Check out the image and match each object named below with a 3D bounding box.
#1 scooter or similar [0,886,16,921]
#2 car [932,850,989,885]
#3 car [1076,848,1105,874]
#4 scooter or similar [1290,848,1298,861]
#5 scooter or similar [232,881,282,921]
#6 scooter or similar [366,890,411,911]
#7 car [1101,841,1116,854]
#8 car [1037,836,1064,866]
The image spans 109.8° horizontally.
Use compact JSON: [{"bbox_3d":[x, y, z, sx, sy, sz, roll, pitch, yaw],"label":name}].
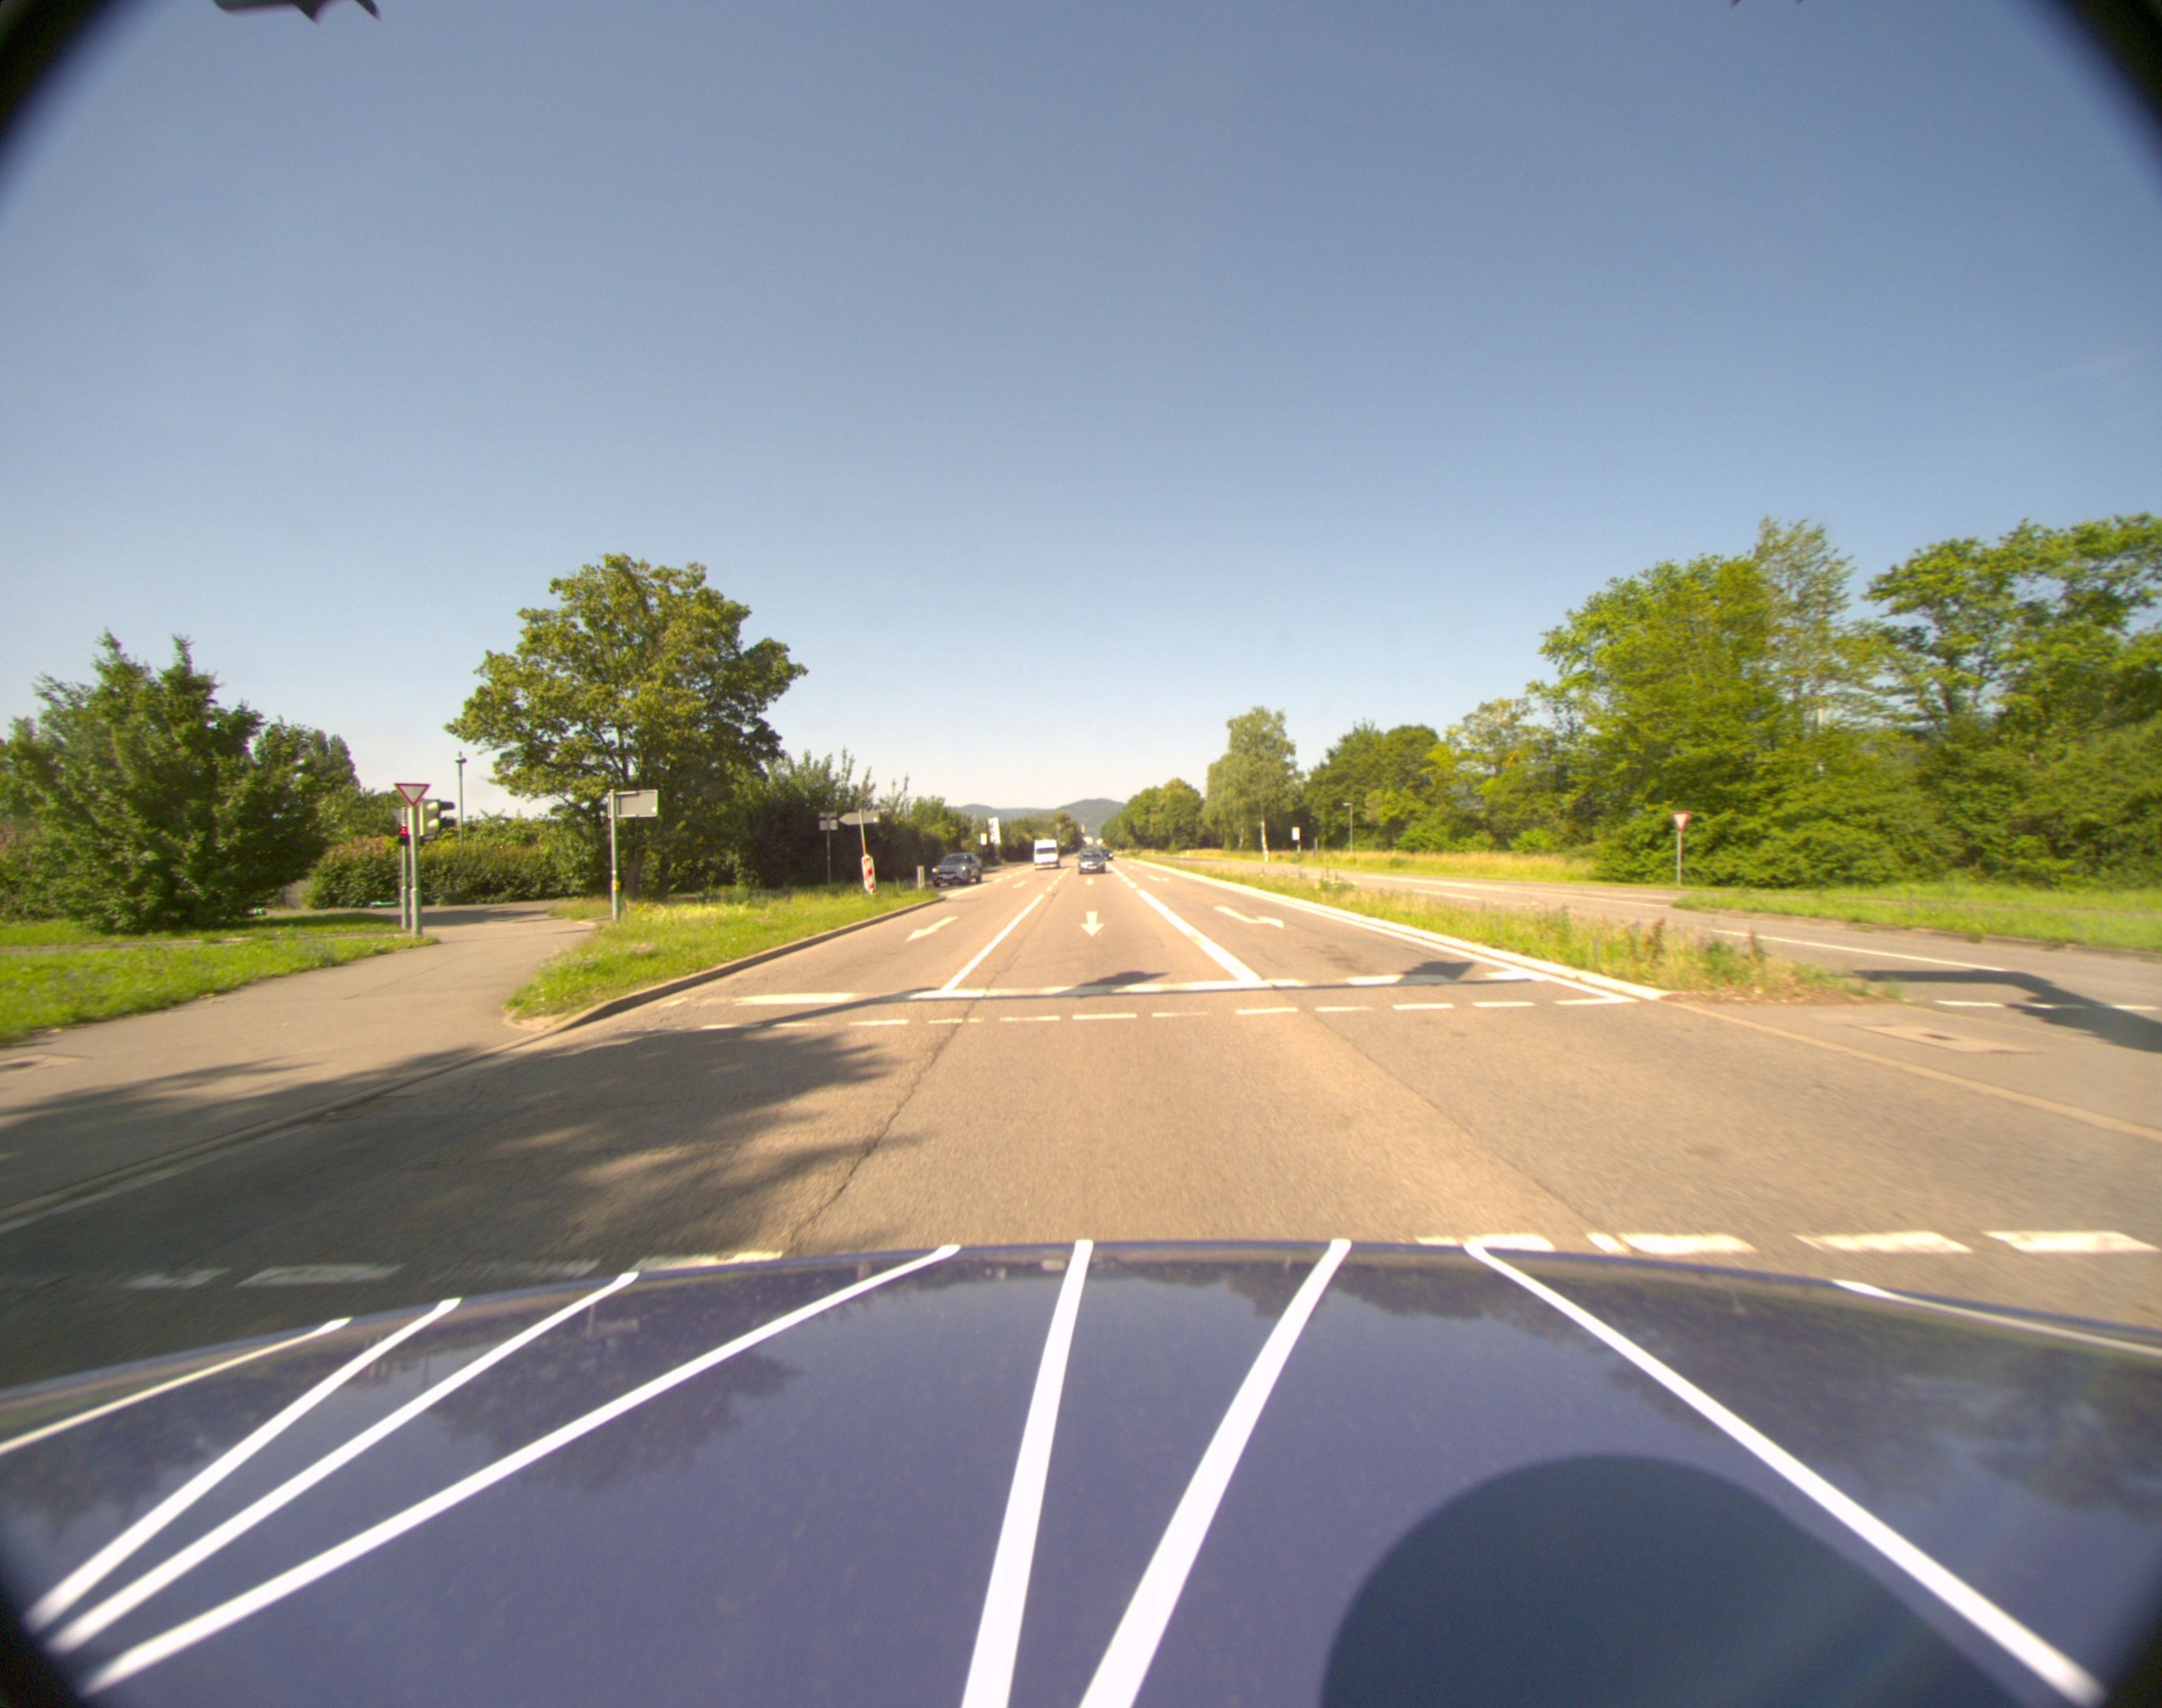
[{"bbox_3d":[-35.102,1.608,24.142,1.385,1.111,0.499,-3,2,-17],"label":"scooter or similar"},{"bbox_3d":[-6.379,0.672,40.688,1.906,1.670,4.684,-2,0,4],"label":"car"},{"bbox_3d":[0.586,0.401,46.979,1.678,1.435,4.360,-2,1,1],"label":"car"},{"bbox_3d":[19.952,0.002,71.187,0.369,1.179,1.340,0,2,1],"label":"scooter or similar"},{"bbox_3d":[-26.512,1.517,24.462,0.970,1.228,0.435,-1,1,-19],"label":"scooter or similar"},{"bbox_3d":[-25.005,1.678,27.450,1.123,0.722,0.435,-1,1,-19],"label":"scooter or similar"},{"bbox_3d":[3.197,-0.761,89.697,1.678,1.435,3.621,-2,1,1],"label":"car"},{"bbox_3d":[-2.545,-0.294,64.711,1.998,2.433,5.088,-2,1,1],"label":"car"}]
